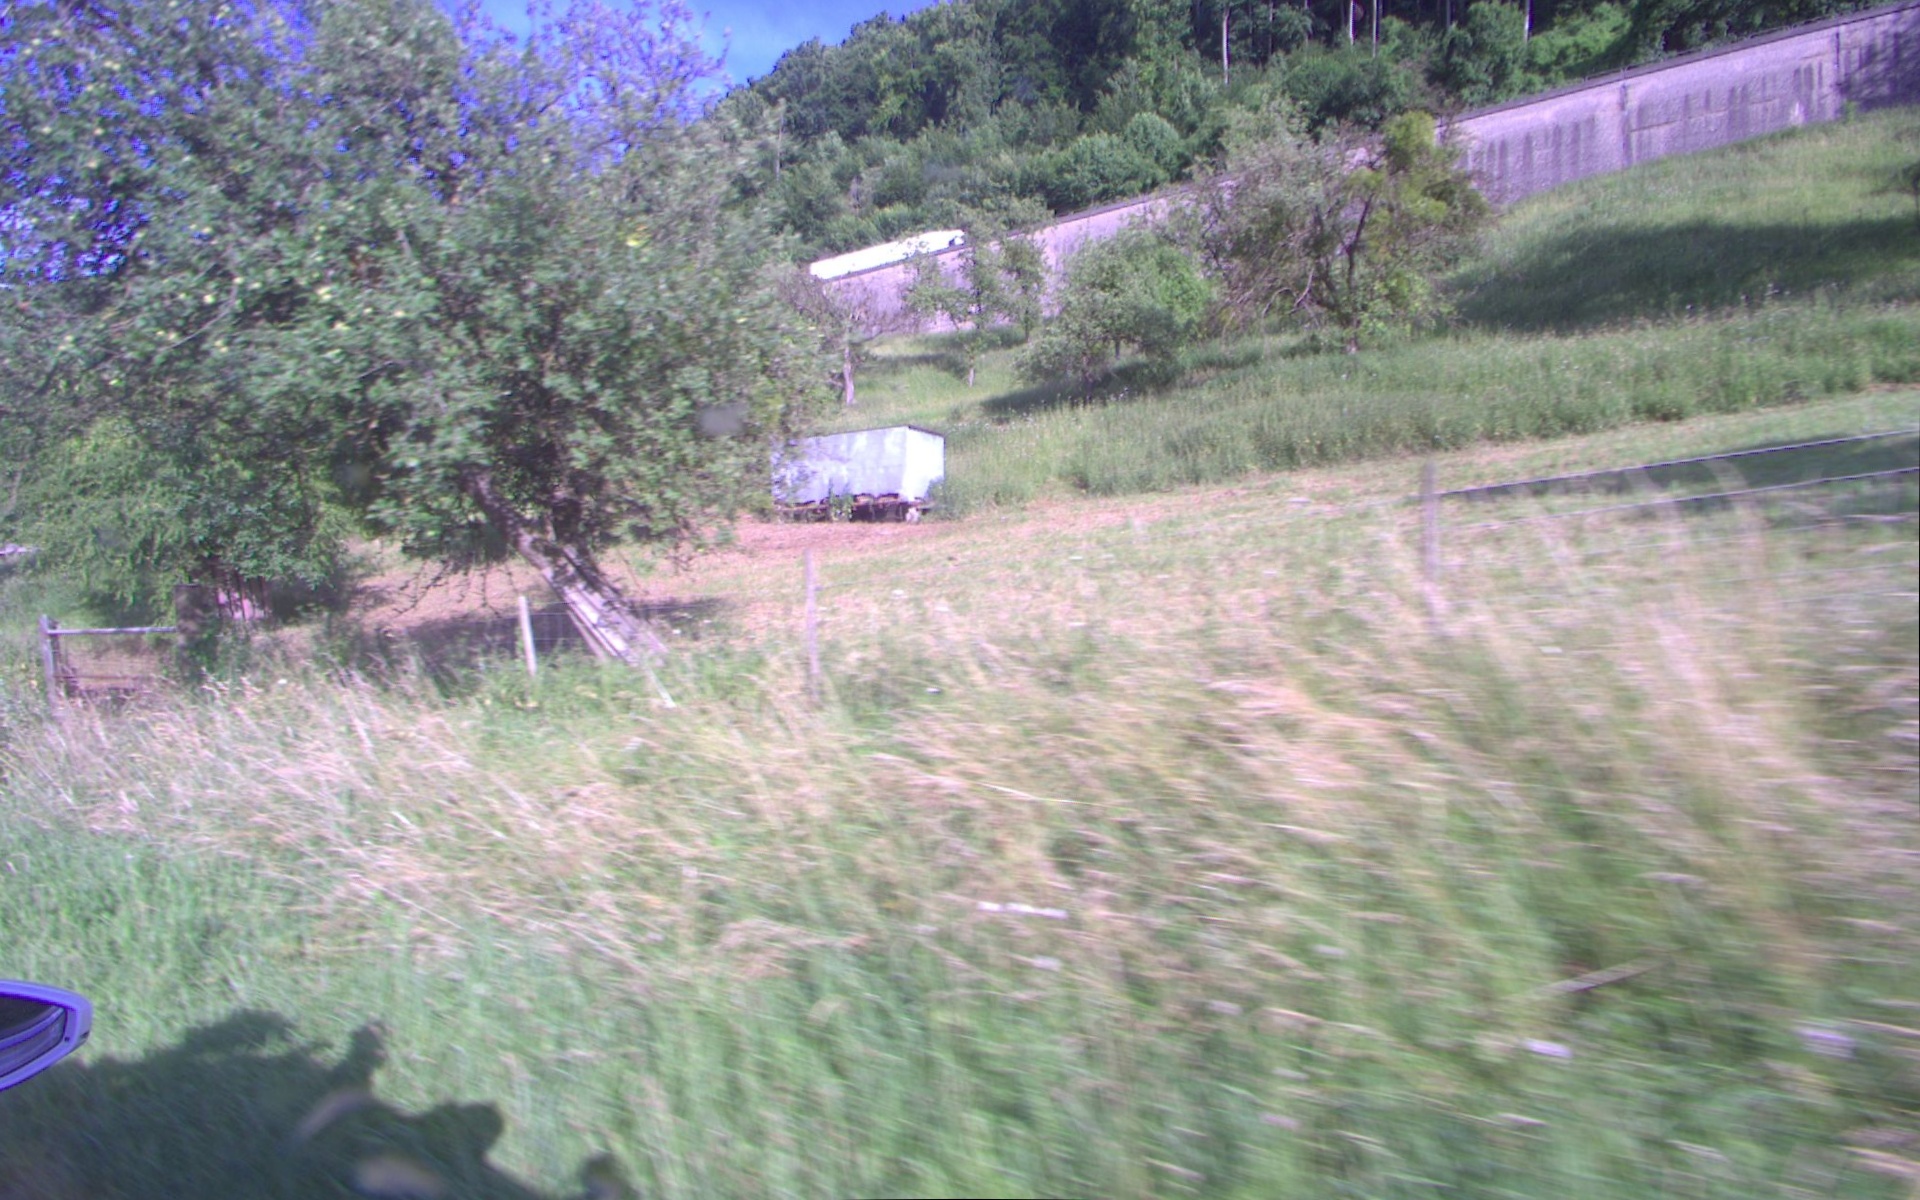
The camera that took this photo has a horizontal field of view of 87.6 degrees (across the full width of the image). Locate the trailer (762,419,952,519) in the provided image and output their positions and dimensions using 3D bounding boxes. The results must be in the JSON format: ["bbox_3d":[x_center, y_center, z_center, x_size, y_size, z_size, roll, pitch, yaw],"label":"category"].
[{"bbox_3d":[-3.011,-3.680,28.981,5.163,2.595,2.149,3,4,28],"label":"trailer"}]
